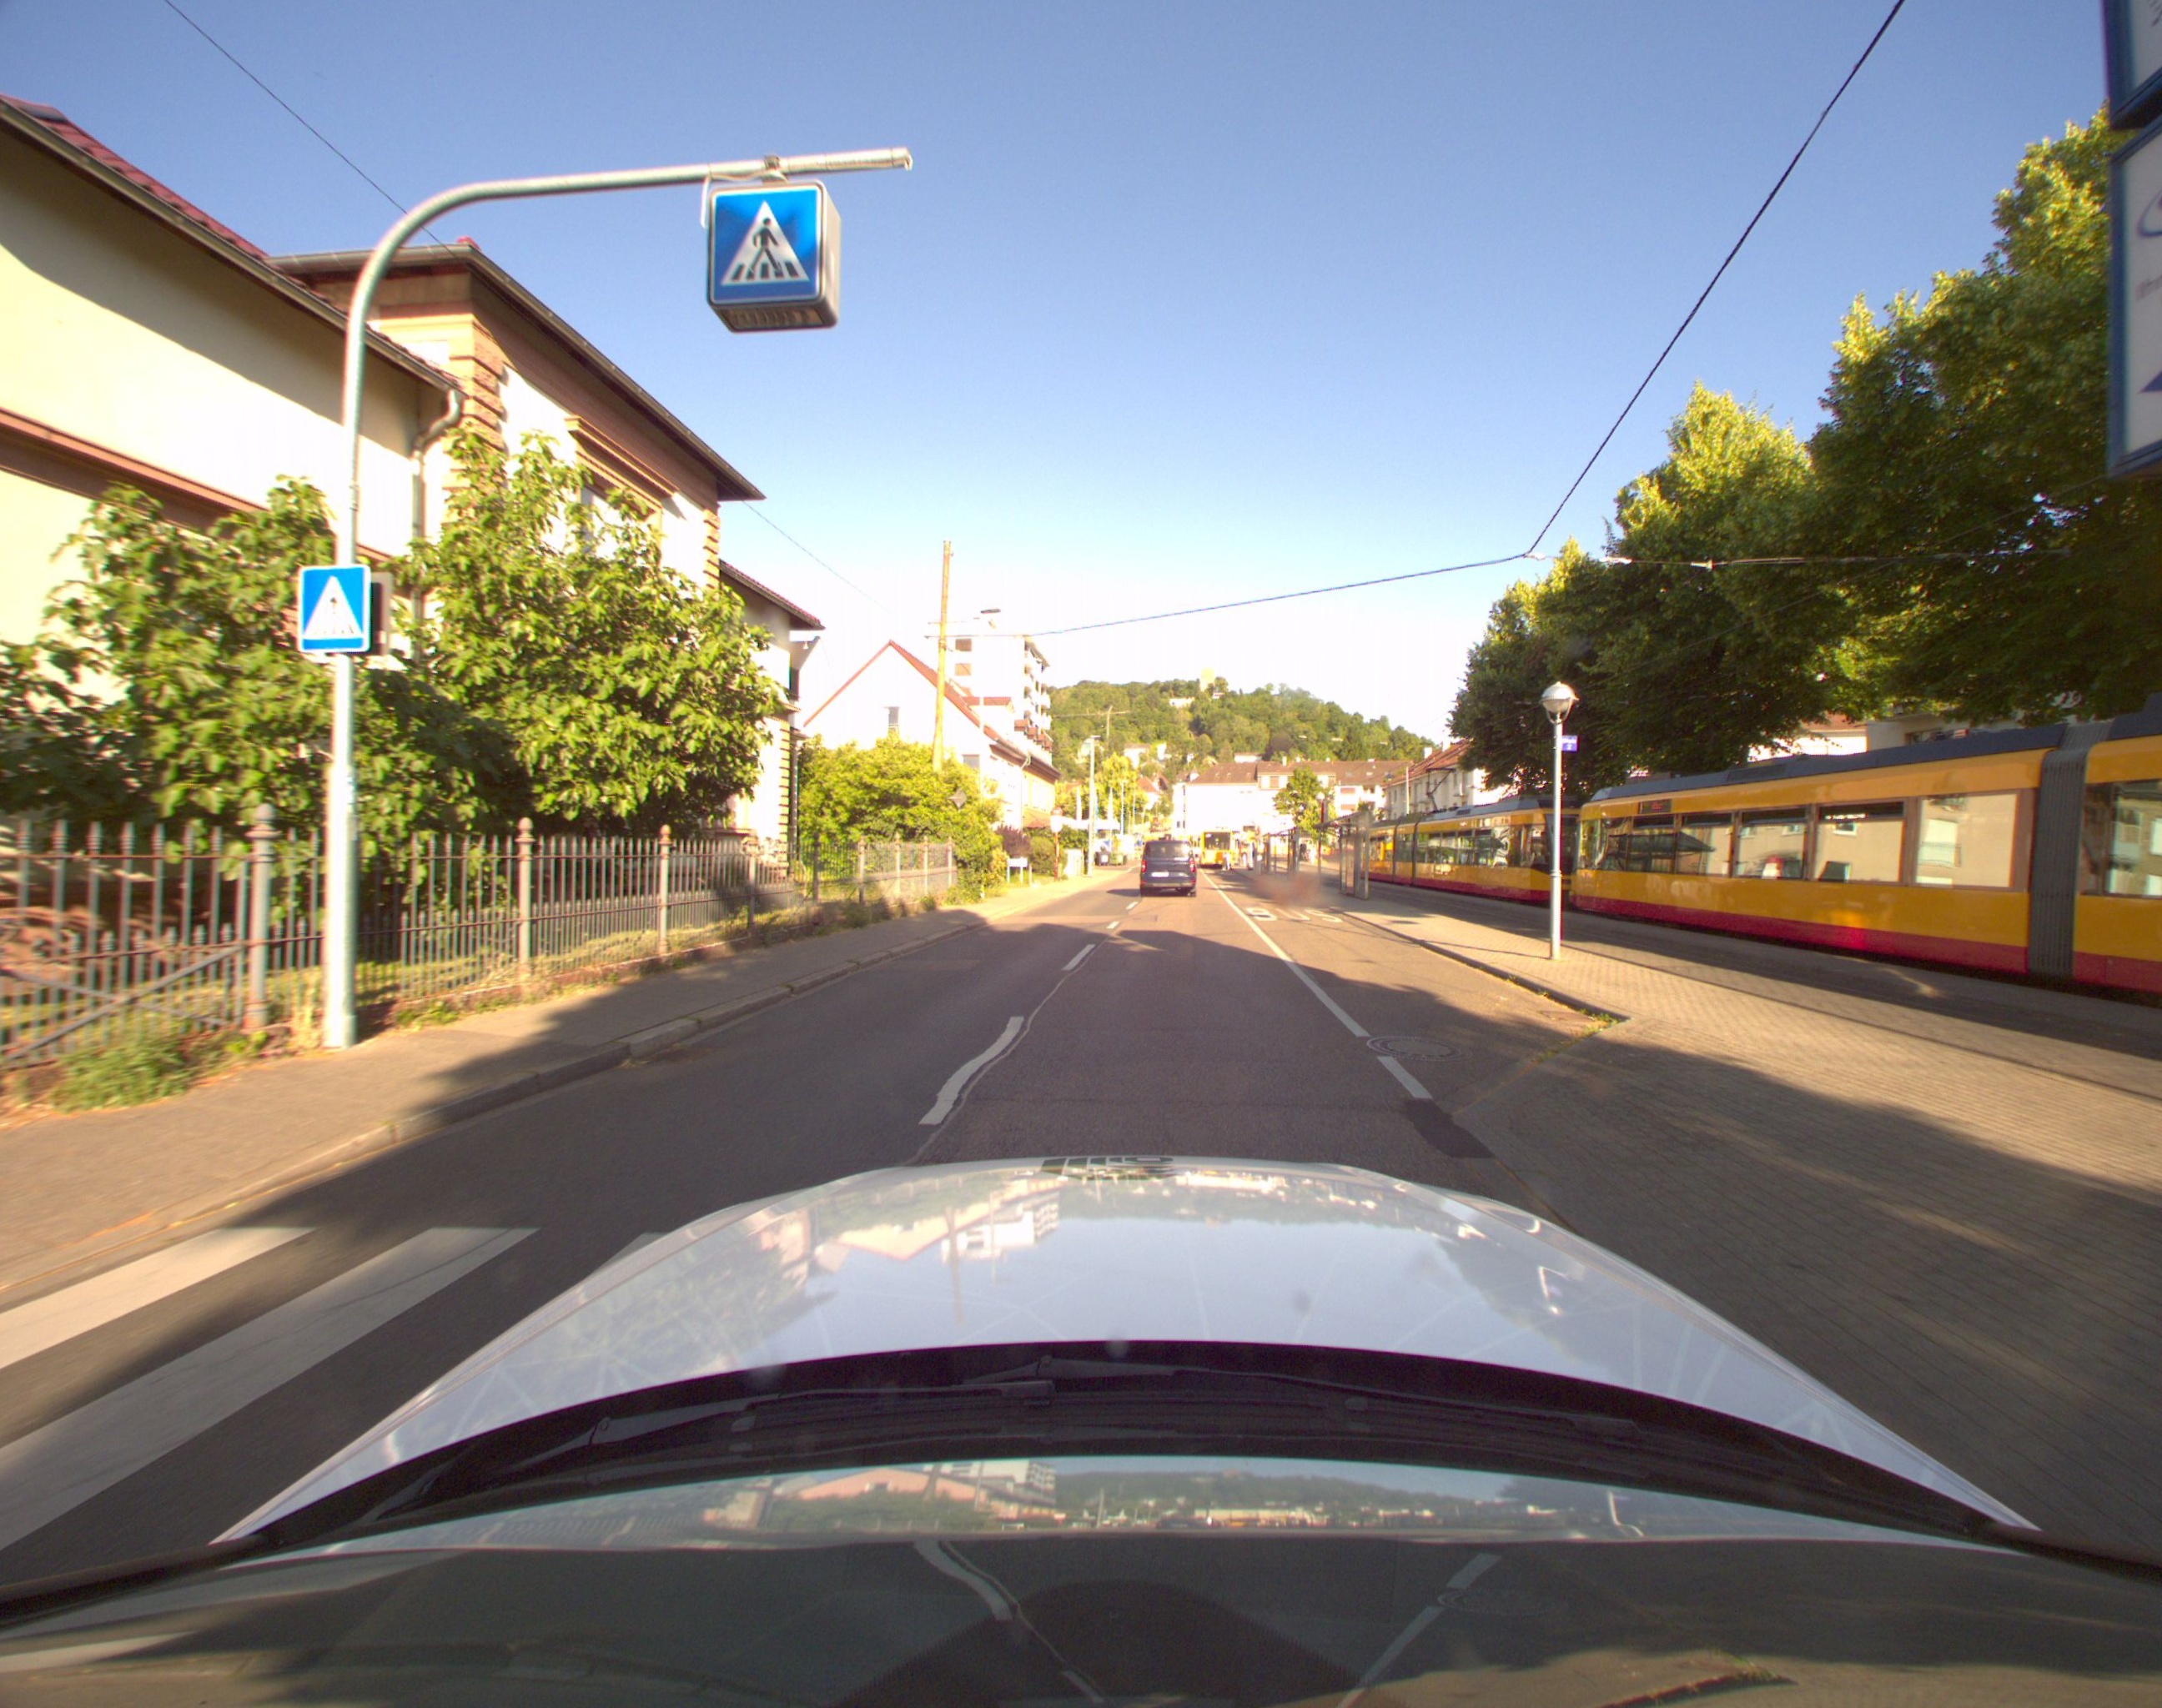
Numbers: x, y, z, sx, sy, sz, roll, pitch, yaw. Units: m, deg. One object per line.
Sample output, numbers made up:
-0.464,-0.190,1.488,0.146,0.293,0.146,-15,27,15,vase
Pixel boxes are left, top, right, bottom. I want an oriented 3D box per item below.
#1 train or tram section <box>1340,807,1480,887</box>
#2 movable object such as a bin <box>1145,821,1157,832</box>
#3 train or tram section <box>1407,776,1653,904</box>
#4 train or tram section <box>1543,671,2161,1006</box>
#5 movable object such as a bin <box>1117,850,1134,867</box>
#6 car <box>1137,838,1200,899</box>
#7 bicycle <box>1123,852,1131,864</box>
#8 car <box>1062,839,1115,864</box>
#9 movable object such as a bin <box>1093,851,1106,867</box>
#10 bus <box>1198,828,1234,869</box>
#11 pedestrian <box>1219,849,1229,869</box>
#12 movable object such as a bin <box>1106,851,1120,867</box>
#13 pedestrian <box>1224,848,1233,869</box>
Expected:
16.956,-0.244,43.743,2.941,3.534,16.001,0,0,7,train or tram section
18.055,-7.056,210.253,2.173,2.690,4.019,0,1,18,movable object such as a bin
15.151,-0.337,29.366,2.941,3.534,13.490,0,0,7,train or tram section
13.155,-0.245,14.031,2.942,3.421,15.968,0,1,6,train or tram section
4.312,0.453,78.660,1.044,1.482,1.321,2,4,35,movable object such as a bin
3.252,0.472,29.835,2.051,2.013,5.010,-1,0,7,car
4.806,0.436,85.083,0.721,1.178,1.780,0,0,-2,bicycle
0.747,-0.231,82.995,5.063,2.469,2.098,1,1,-15,car
1.745,0.443,77.496,1.213,1.482,0.705,0,3,2,movable object such as a bin
12.048,-0.564,73.478,2.674,3.416,12.044,0,1,7,bus
11.635,0.369,66.345,0.547,1.613,0.630,0,0,-30,pedestrian
3.063,0.482,77.814,1.223,1.482,0.699,-1,4,-22,movable object such as a bin
11.944,0.363,65.951,0.547,1.613,0.544,0,0,-30,pedestrian
